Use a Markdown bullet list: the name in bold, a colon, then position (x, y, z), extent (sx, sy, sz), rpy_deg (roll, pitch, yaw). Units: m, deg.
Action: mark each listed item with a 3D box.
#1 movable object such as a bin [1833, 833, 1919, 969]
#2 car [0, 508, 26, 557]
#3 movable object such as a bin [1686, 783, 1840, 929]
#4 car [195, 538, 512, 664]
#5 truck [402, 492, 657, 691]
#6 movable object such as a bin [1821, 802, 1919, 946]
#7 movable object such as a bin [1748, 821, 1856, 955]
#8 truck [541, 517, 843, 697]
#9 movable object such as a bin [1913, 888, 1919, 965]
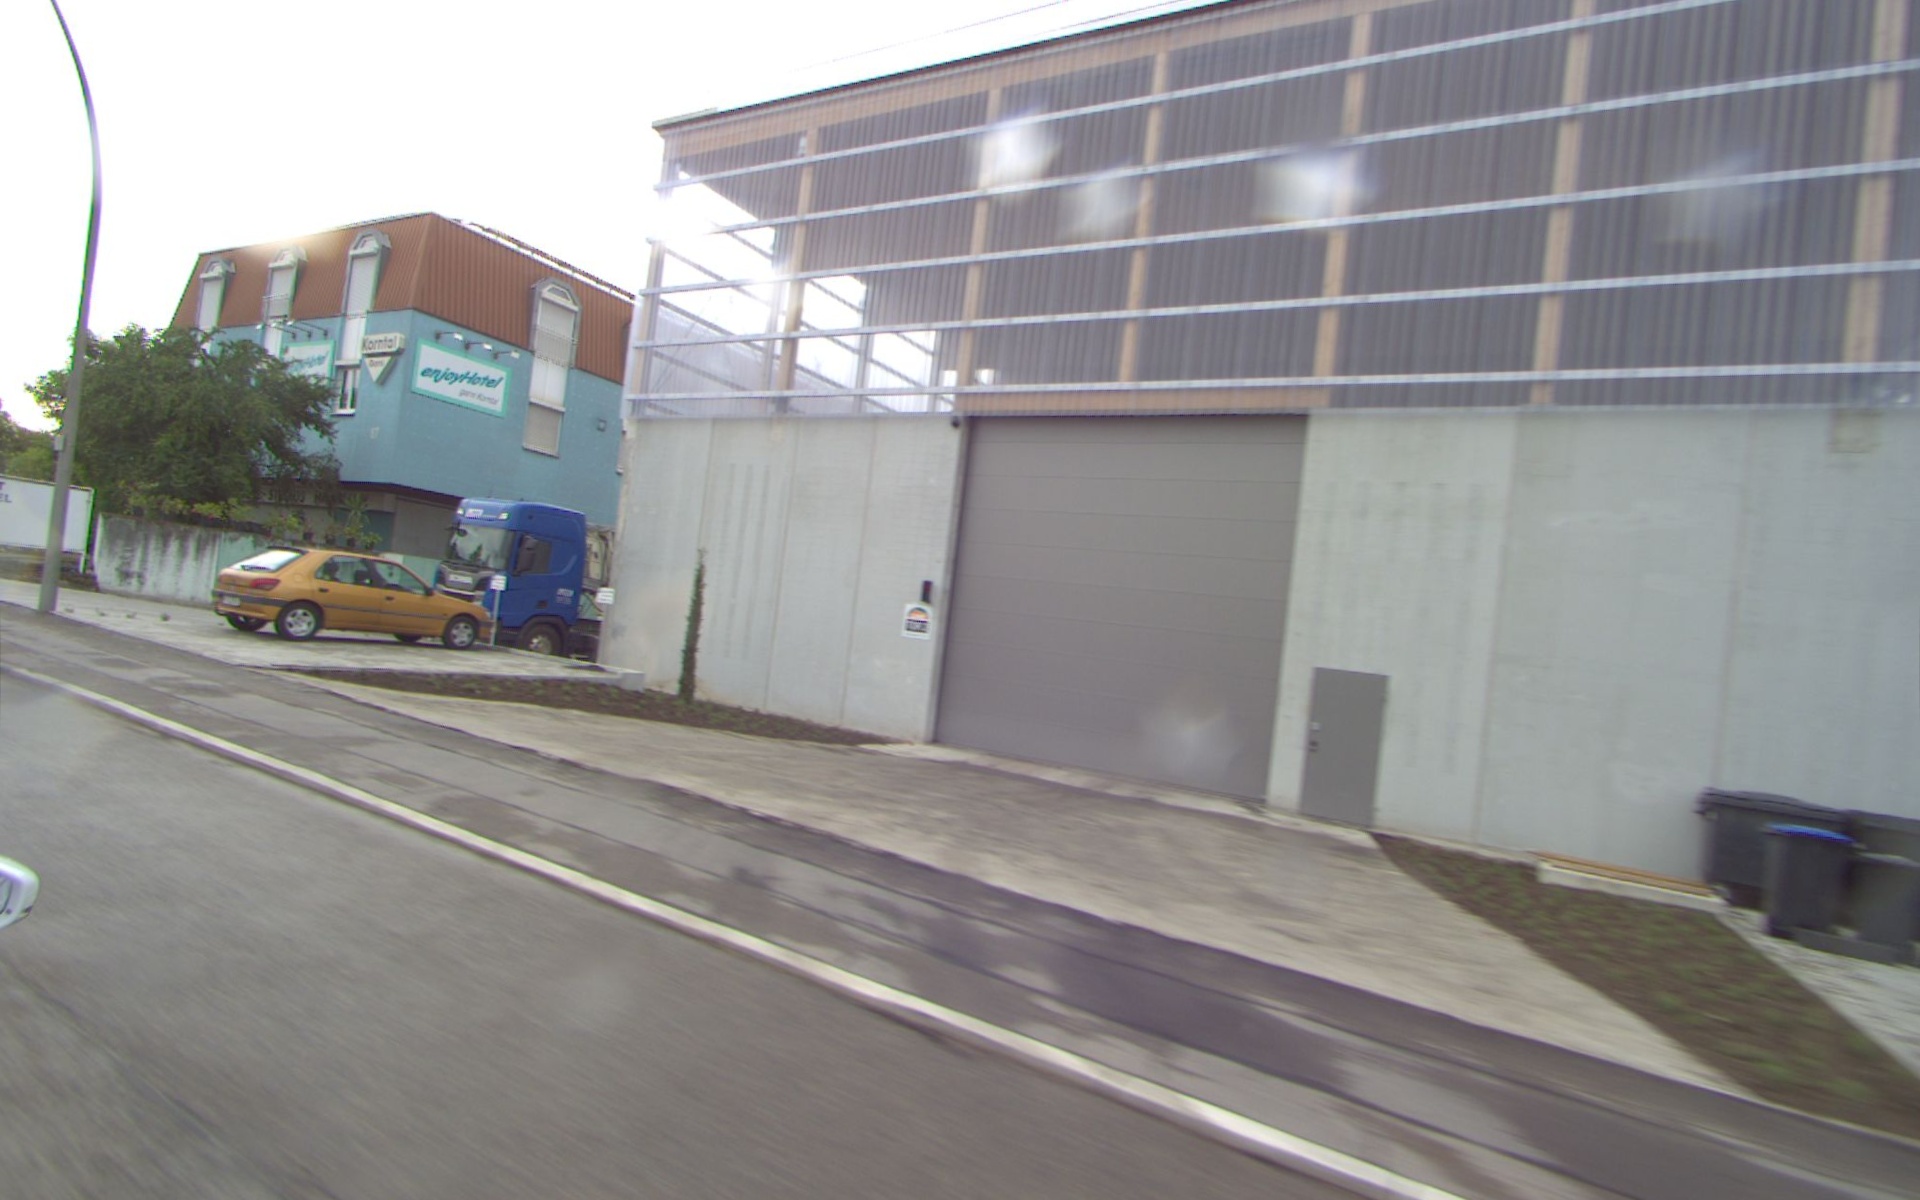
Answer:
- **movable object such as a bin**: position (8.522, 2.757, 9.293), extent (0.535, 1.066, 0.514), rpy_deg (6, -3, 32)
- **car**: position (-30.962, -2.397, 29.770), extent (1.848, 1.407, 4.430), rpy_deg (6, -4, 30)
- **movable object such as a bin**: position (9.277, 2.922, 11.682), extent (1.193, 1.354, 0.840), rpy_deg (6, -3, 32)
- **car**: position (-9.582, 0.098, 16.258), extent (1.603, 1.446, 3.999), rpy_deg (7, -3, 29)
- **truck**: position (-9.808, -0.096, 23.309), extent (2.673, 3.709, 4.163), rpy_deg (6, -6, 28)
- **movable object such as a bin**: position (10.356, 3.013, 10.939), extent (1.300, 1.354, 0.840), rpy_deg (6, -3, 32)
- **movable object such as a bin**: position (8.011, 2.716, 9.595), extent (0.633, 1.066, 0.576), rpy_deg (6, -3, 32)
- **truck**: position (-7.078, 0.470, 28.372), extent (2.676, 3.745, 8.567), rpy_deg (6, -5, 29)
- **movable object such as a bin**: position (9.000, 2.804, 8.983), extent (0.543, 1.066, 0.497), rpy_deg (6, -3, 32)
